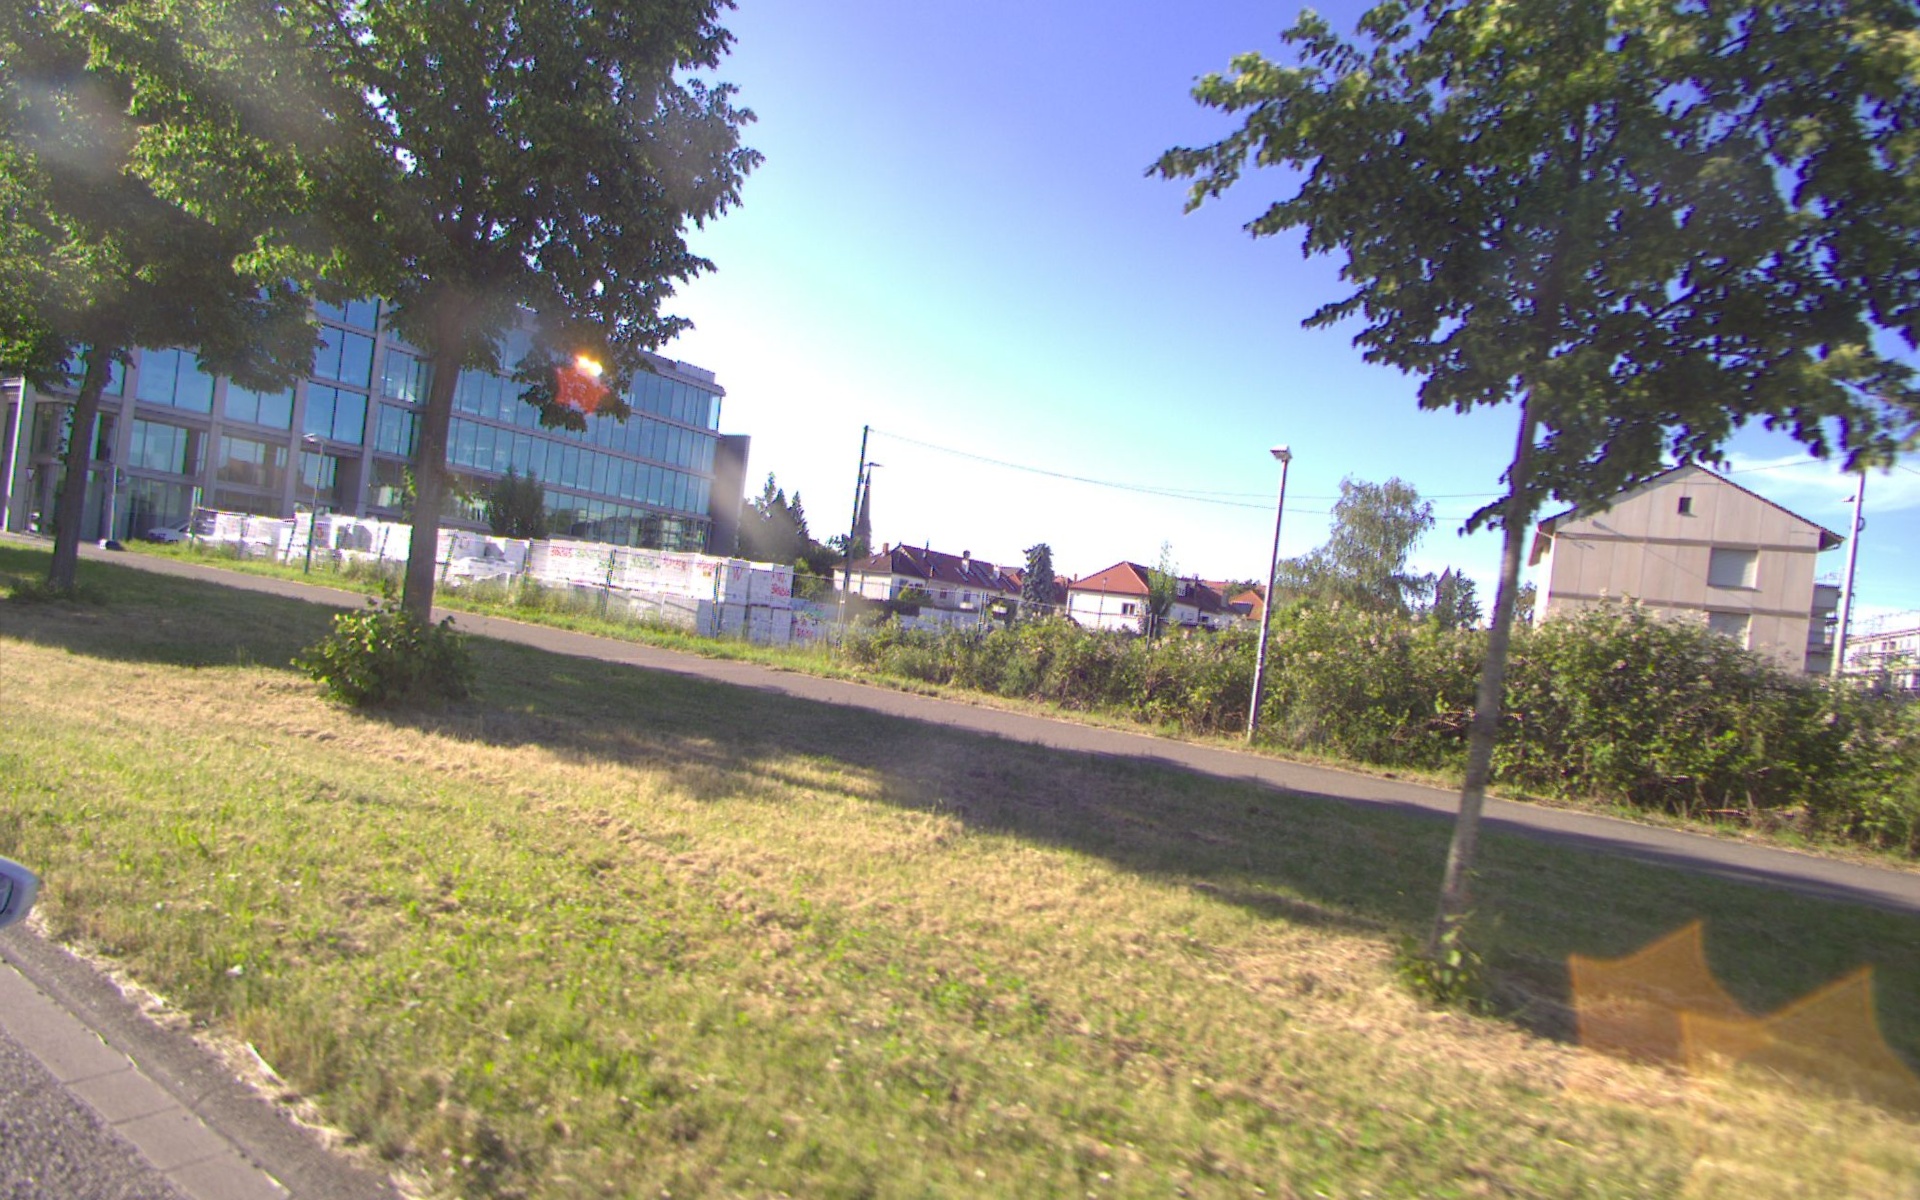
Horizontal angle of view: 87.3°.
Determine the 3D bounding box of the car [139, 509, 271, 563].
[{"bbox_3d":[-39.360,-3.311,52.566,1.908,2.005,5.069,7,-1,36],"label":"car"}]
